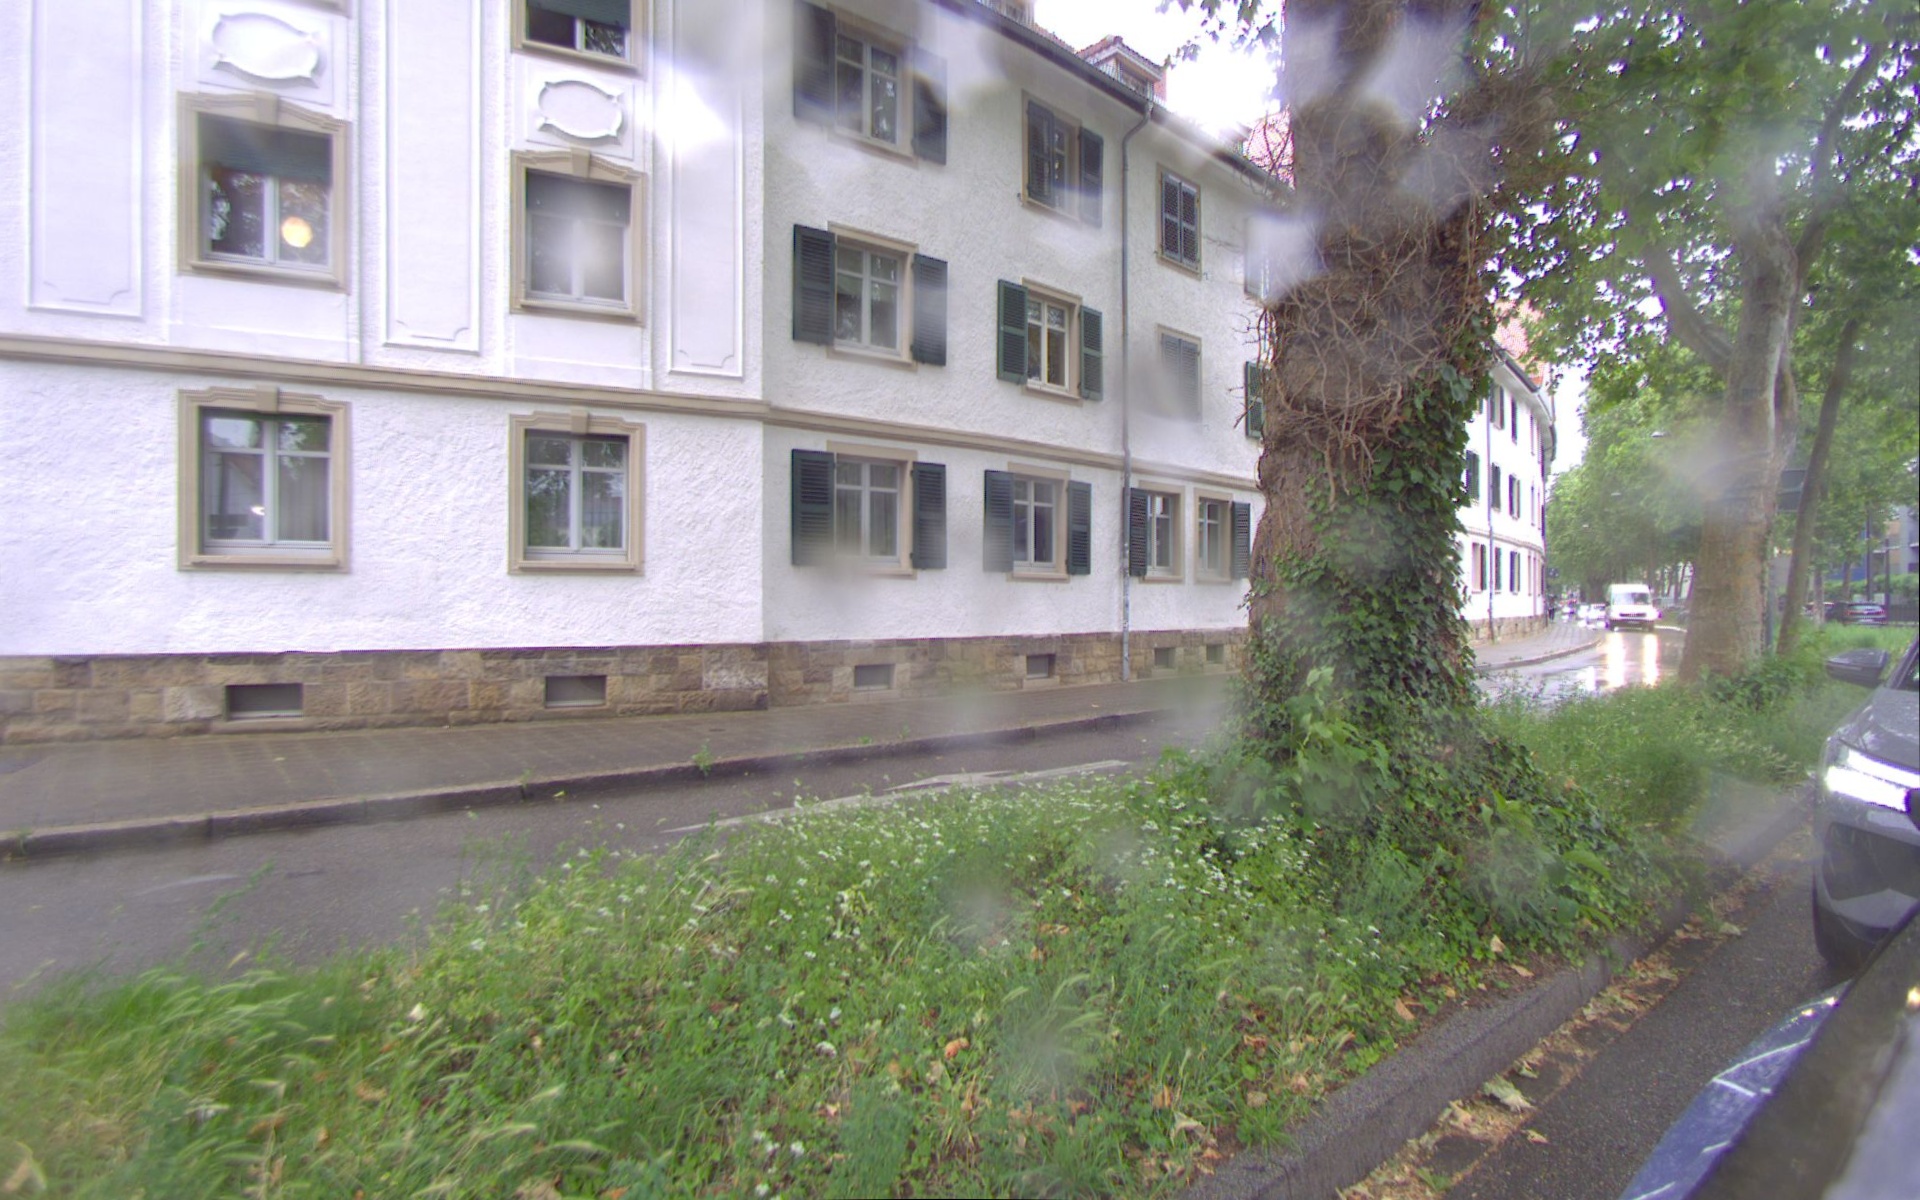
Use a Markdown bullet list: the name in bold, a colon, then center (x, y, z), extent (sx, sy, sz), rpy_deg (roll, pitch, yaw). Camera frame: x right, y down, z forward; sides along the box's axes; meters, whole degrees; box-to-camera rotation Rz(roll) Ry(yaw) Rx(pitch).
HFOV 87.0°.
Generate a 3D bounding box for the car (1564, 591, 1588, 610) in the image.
- **car**: center (71.109, 0.039, 116.813), extent (1.983, 2.038, 3.961), rpy_deg (5, 3, 28)

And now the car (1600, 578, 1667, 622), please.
- **car**: center (37.061, 0.015, 55.817), extent (2.173, 2.292, 5.366), rpy_deg (0, 0, 24)

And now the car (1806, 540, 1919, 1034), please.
- **car**: center (5.143, 0.620, 4.316), extent (4.039, 1.662, 1.913), rpy_deg (0, 0, -44)

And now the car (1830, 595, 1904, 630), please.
- **car**: center (45.168, 0.602, 50.493), extent (1.794, 1.704, 4.554), rpy_deg (0, 0, 30)

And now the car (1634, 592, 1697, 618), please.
- **car**: center (55.910, 0.392, 80.300), extent (3.969, 2.039, 1.977), rpy_deg (0, -1, 32)

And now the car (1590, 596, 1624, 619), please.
- **car**: center (46.765, 0.507, 73.223), extent (1.816, 1.545, 3.959), rpy_deg (0, 0, 29)

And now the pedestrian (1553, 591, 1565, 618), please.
- **pedestrian**: center (41.186, 0.322, 69.614), extent (0.668, 1.845, 0.672), rpy_deg (0, 0, 31)

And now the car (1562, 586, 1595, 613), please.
- **car**: center (52.489, -0.084, 85.947), extent (1.983, 2.038, 3.961), rpy_deg (5, 3, 28)
